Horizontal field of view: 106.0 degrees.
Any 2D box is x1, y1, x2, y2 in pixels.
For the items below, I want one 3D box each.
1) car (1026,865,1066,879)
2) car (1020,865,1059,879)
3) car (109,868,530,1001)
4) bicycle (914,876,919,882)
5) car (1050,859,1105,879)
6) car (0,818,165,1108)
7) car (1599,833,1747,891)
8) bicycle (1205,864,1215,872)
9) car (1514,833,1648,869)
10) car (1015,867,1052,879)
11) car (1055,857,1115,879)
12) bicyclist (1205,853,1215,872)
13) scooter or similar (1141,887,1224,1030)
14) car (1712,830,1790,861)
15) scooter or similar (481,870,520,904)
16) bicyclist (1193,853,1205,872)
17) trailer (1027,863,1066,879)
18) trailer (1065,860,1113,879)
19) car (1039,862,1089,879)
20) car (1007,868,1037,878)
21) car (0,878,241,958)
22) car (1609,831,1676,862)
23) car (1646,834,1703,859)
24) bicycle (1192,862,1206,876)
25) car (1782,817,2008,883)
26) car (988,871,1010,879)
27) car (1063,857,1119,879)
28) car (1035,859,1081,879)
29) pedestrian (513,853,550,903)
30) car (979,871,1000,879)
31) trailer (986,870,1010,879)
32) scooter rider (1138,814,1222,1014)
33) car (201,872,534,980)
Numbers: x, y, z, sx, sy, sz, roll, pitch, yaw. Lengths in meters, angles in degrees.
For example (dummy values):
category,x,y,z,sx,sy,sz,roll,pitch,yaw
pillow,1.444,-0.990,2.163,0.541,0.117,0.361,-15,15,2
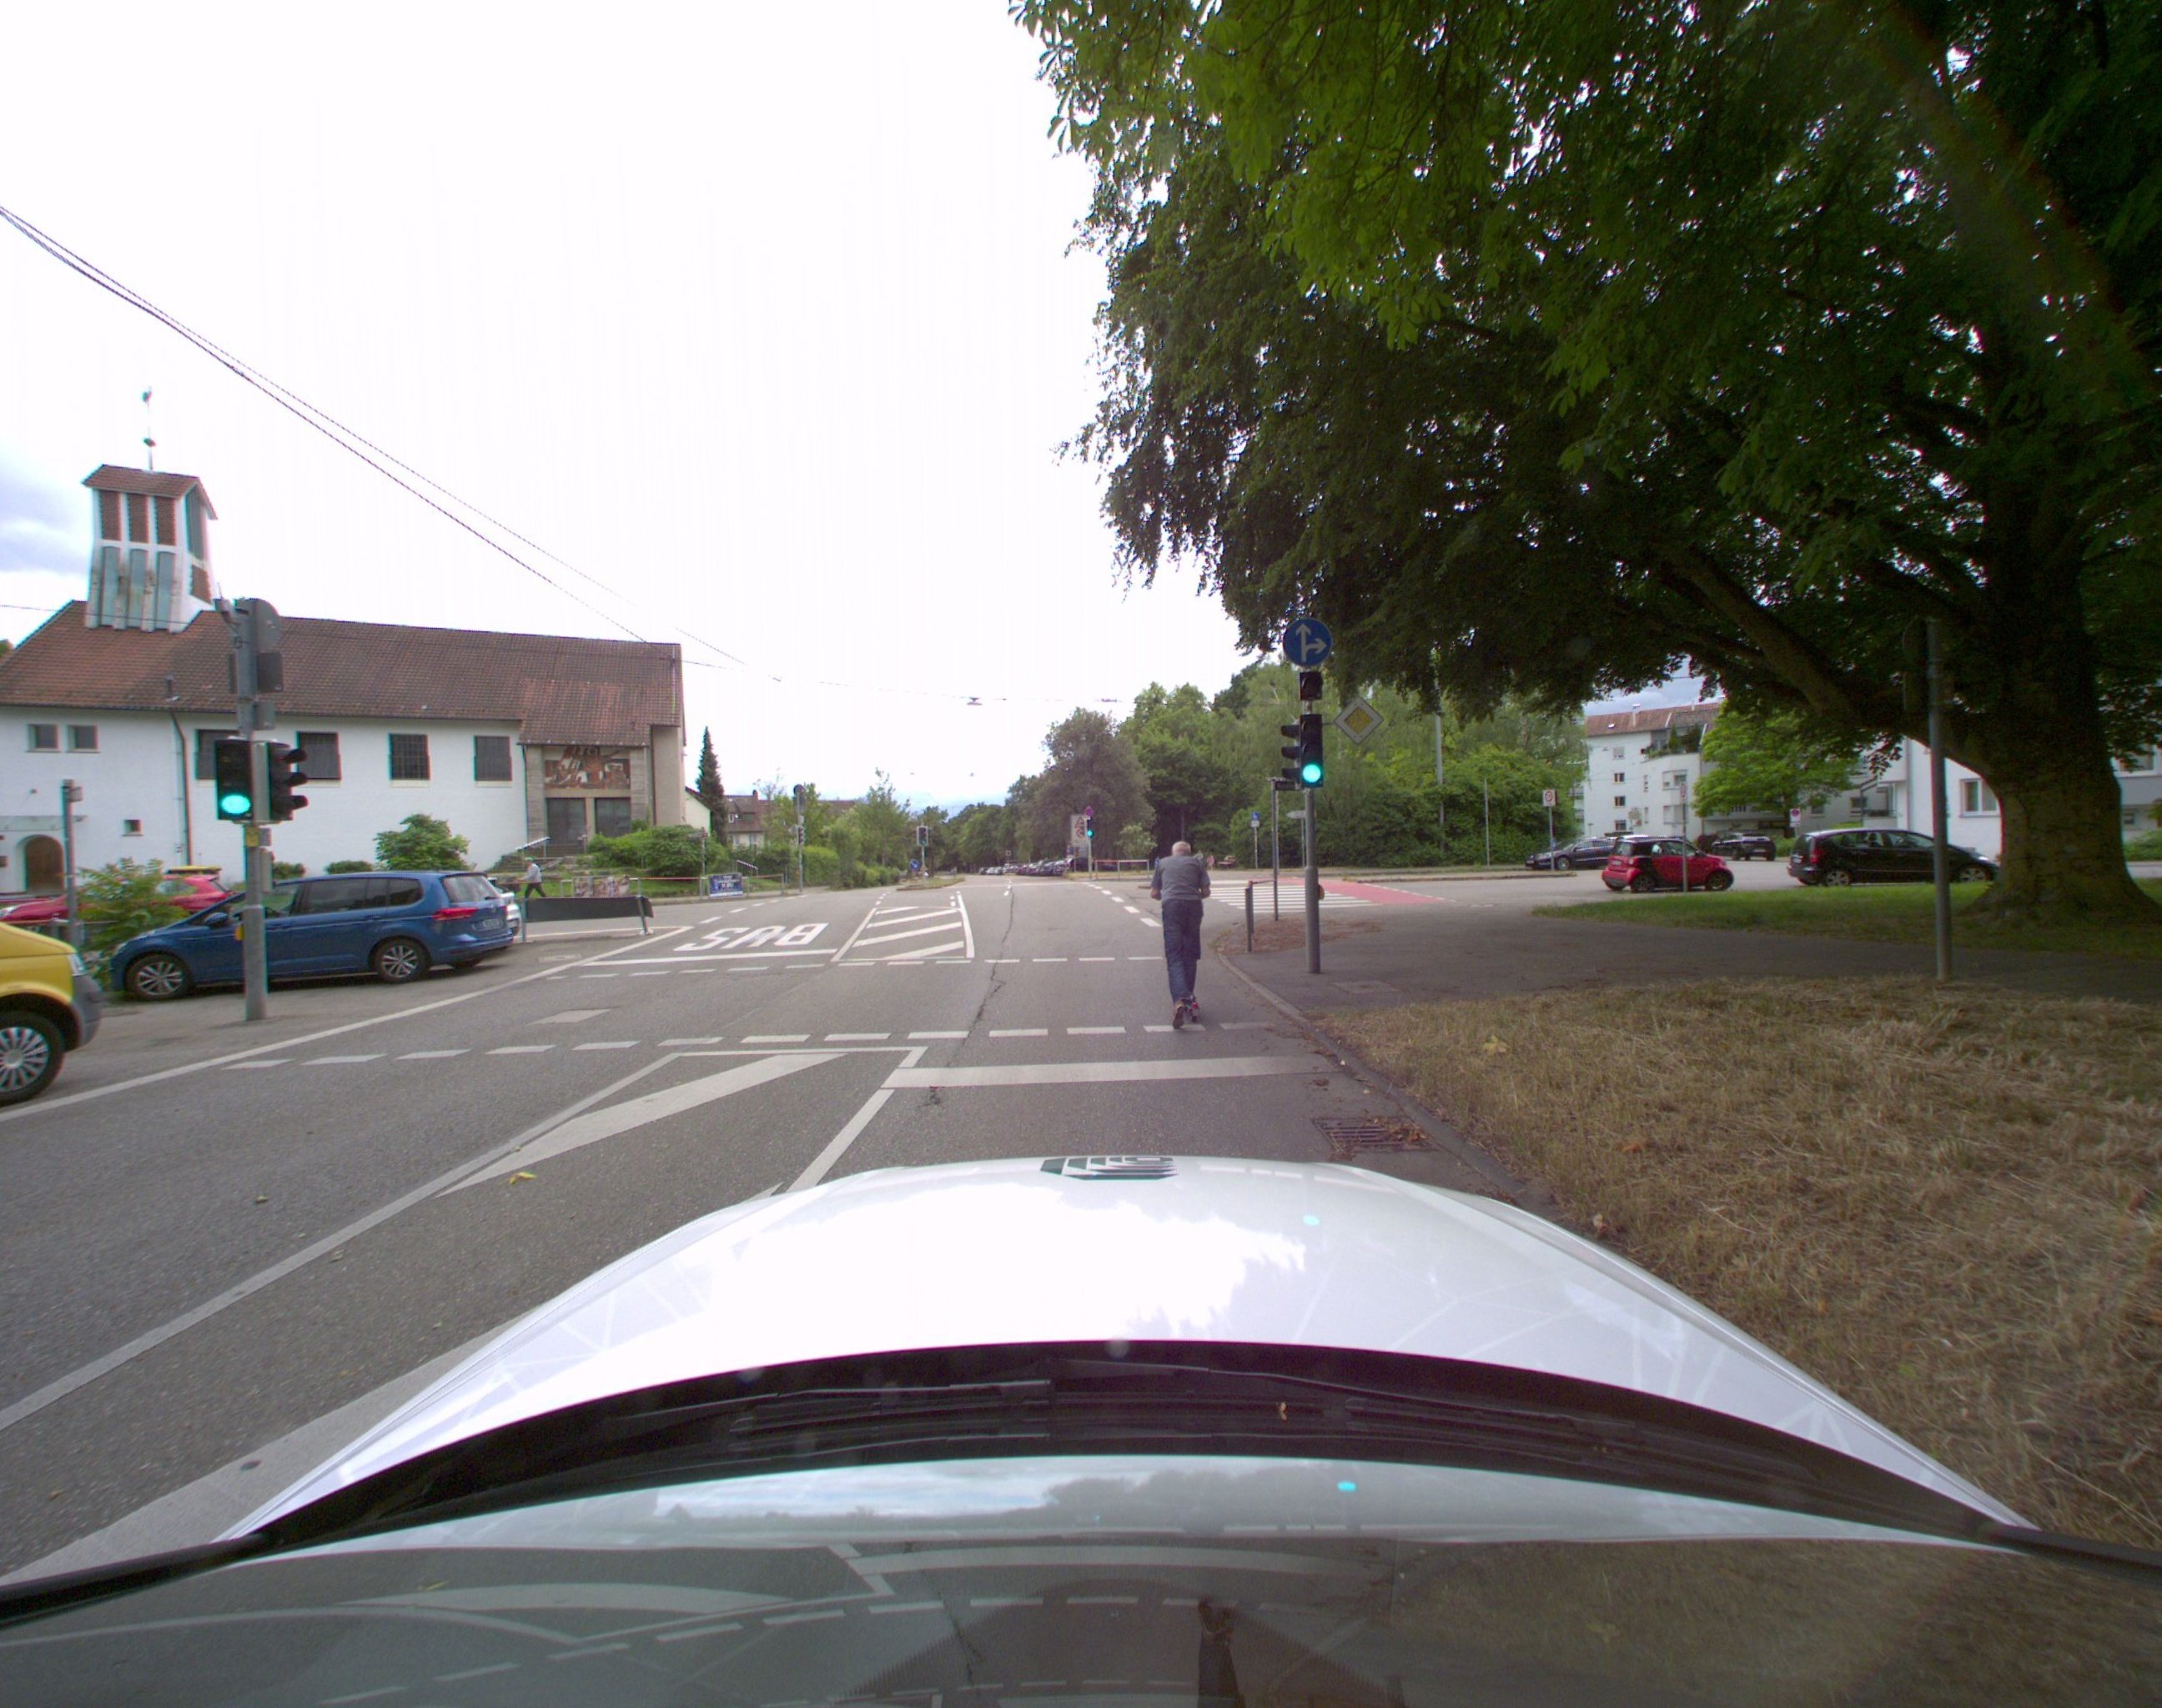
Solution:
category,x,y,z,sx,sy,sz,roll,pitch,yaw
car,-3.739,1.914,87.097,4.048,1.327,1.549,-1,-2,-18
car,-4.935,2.150,97.314,4.363,1.445,1.621,-1,-1,-23
car,-11.032,1.089,12.171,4.168,1.547,1.838,-2,1,-12
bicycle,-36.515,5.465,180.725,0.845,1.266,2.643,-2,-1,-9
car,-0.298,1.252,68.066,4.231,1.464,1.625,-1,-1,-18
car,-8.279,0.774,4.173,1.913,1.989,4.792,-2,0,-5
car,16.485,0.203,22.814,2.896,1.506,1.699,-1,1,6
bicycle,8.420,0.910,52.998,0.514,0.497,0.992,-3,-2,14
car,22.186,-0.131,36.249,4.776,1.439,2.036,-2,0,-4
car,-5.970,2.362,102.553,4.331,1.341,1.720,-1,-2,-23
car,0.279,1.050,60.291,4.149,1.476,1.566,-1,-2,-20
bicyclist,8.407,0.548,53.023,0.514,1.187,0.971,-3,-2,14
scooter or similar,0.944,0.933,7.734,0.678,1.139,1.462,-2,1,5
car,36.327,-0.430,44.268,1.913,1.545,4.083,-2,-1,18
scooter or similar,-19.219,1.079,26.972,0.604,1.095,0.895,-2,-2,36
bicyclist,7.456,0.538,51.453,0.634,1.161,0.807,-2,2,18
trailer,-3.576,1.762,84.839,3.701,1.535,1.634,-1,-1,-20
trailer,0.606,1.202,63.269,3.412,1.267,1.606,-2,-2,-19
car,-1.545,1.503,74.440,4.173,1.407,1.686,-1,-2,-20
car,-8.723,2.824,120.429,3.983,1.405,1.742,-1,-2,-24
car,-22.456,1.428,19.149,1.753,1.489,3.707,-2,1,44
car,28.997,-0.360,42.171,1.788,1.487,3.686,-2,-1,17
car,39.631,-0.473,54.480,1.913,1.545,4.083,-2,-1,18
bicycle,7.467,0.922,51.475,0.634,0.758,1.689,-2,2,18
car,21.051,-0.069,21.286,3.778,1.591,1.829,-1,-1,27
car,-15.837,4.050,157.444,3.912,1.310,1.725,-1,-2,-33
car,0.673,0.996,57.777,3.718,1.476,1.570,-1,-1,-12
car,-2.192,1.434,77.401,3.997,1.725,1.670,-1,-2,-18
pedestrian,-18.689,0.819,27.696,0.680,1.653,0.836,-2,-2,37
car,-19.697,4.551,175.344,3.908,1.429,1.727,-1,-2,-29
trailer,-15.690,3.866,154.756,4.178,1.573,1.696,-1,-2,-28
scooter rider,0.922,0.517,7.704,0.678,1.730,1.198,-2,1,5
car,-12.200,1.161,14.265,3.902,1.472,1.835,-2,1,-17
